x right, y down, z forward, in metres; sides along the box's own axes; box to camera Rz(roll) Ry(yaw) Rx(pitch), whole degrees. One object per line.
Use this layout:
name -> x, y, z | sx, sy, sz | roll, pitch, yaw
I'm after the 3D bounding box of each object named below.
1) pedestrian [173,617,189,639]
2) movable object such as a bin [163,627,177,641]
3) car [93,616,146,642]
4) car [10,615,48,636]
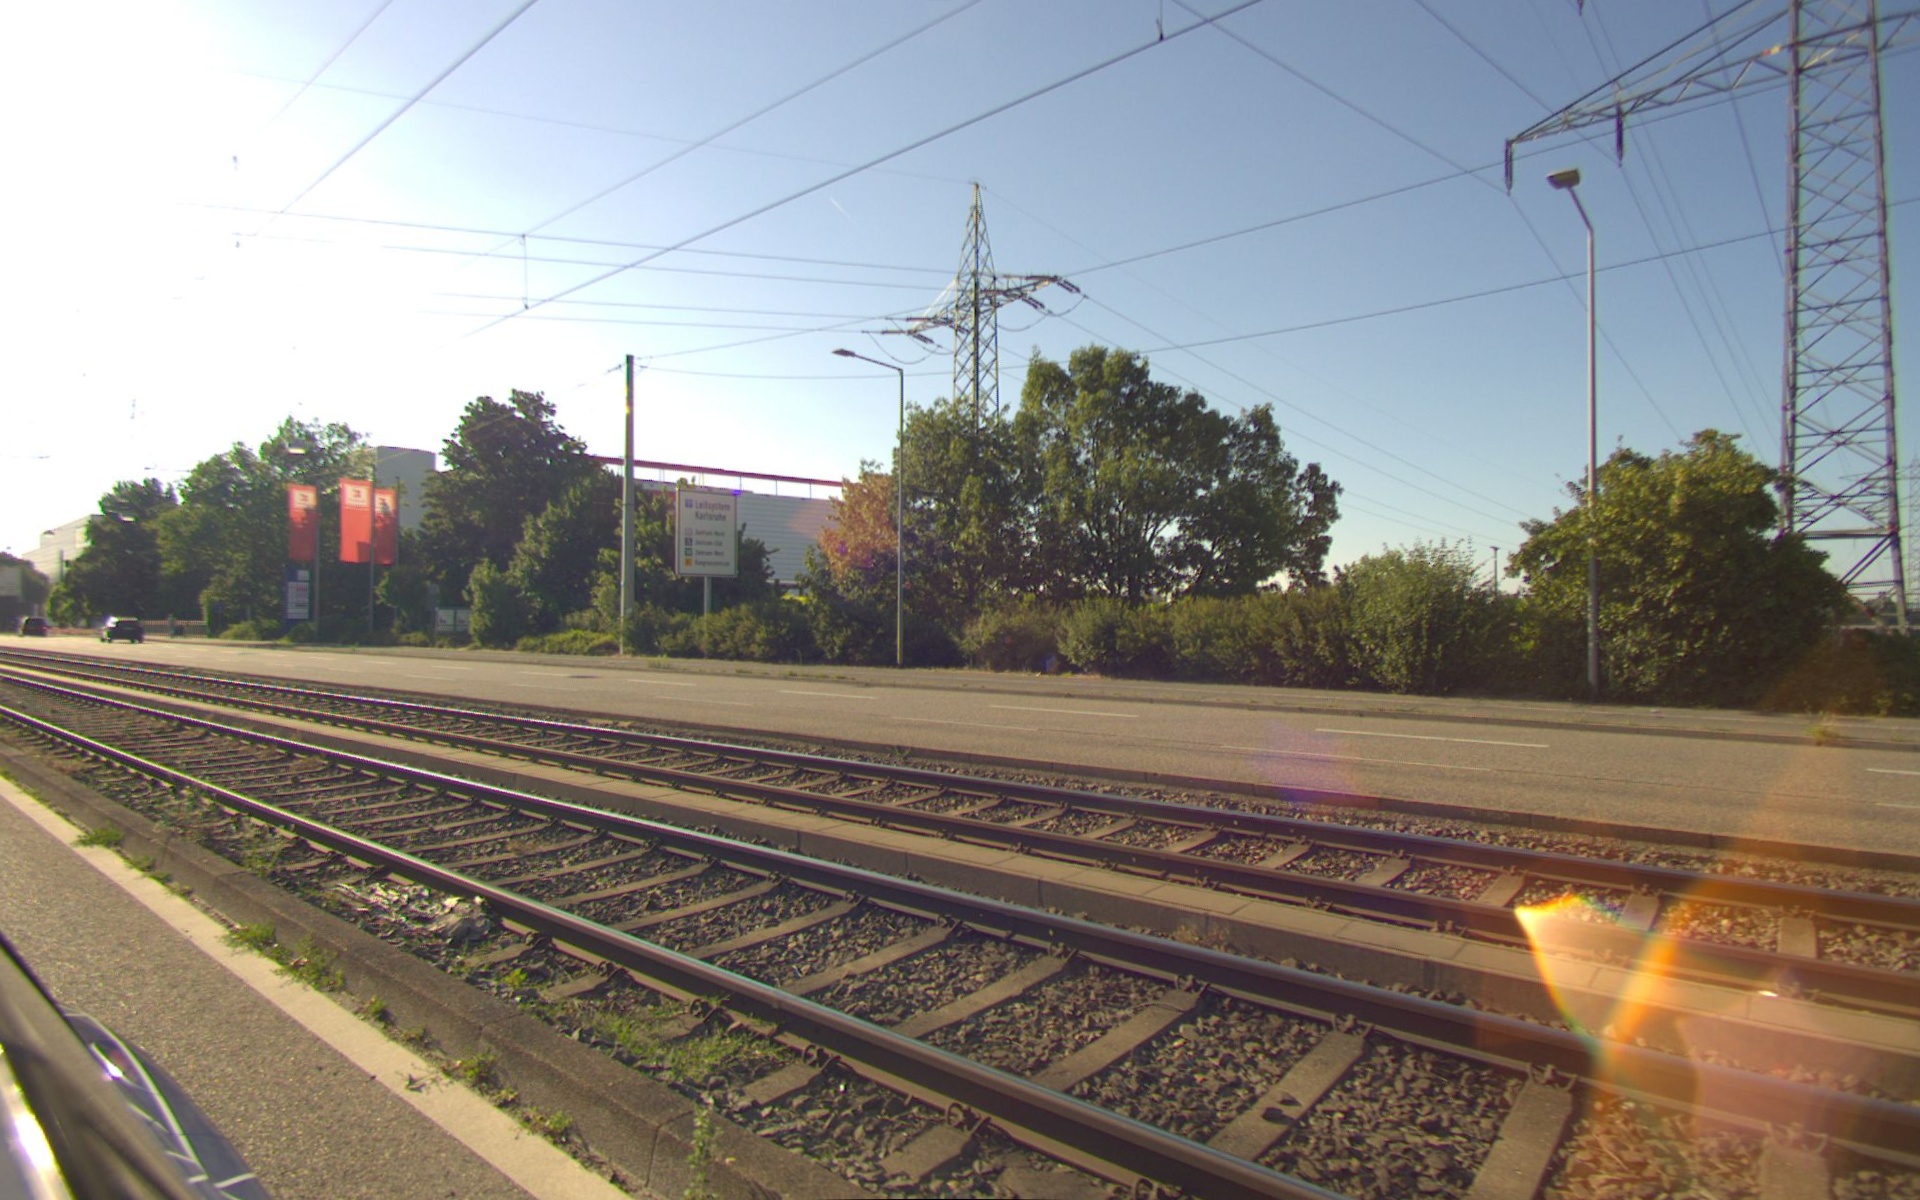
pedestrian -> -59.564, 2.162, 77.360 | 1.080, 1.660, 0.607 | -1, 1, 34
movable object such as a bin -> -59.999, 2.570, 76.883 | 1.083, 0.972, 0.606 | 0, 1, 40
car -> -56.293, 1.896, 67.776 | 4.680, 1.637, 1.973 | 0, -1, 41
car -> -84.825, 2.321, 92.205 | 4.347, 1.809, 1.973 | 0, -2, 41
